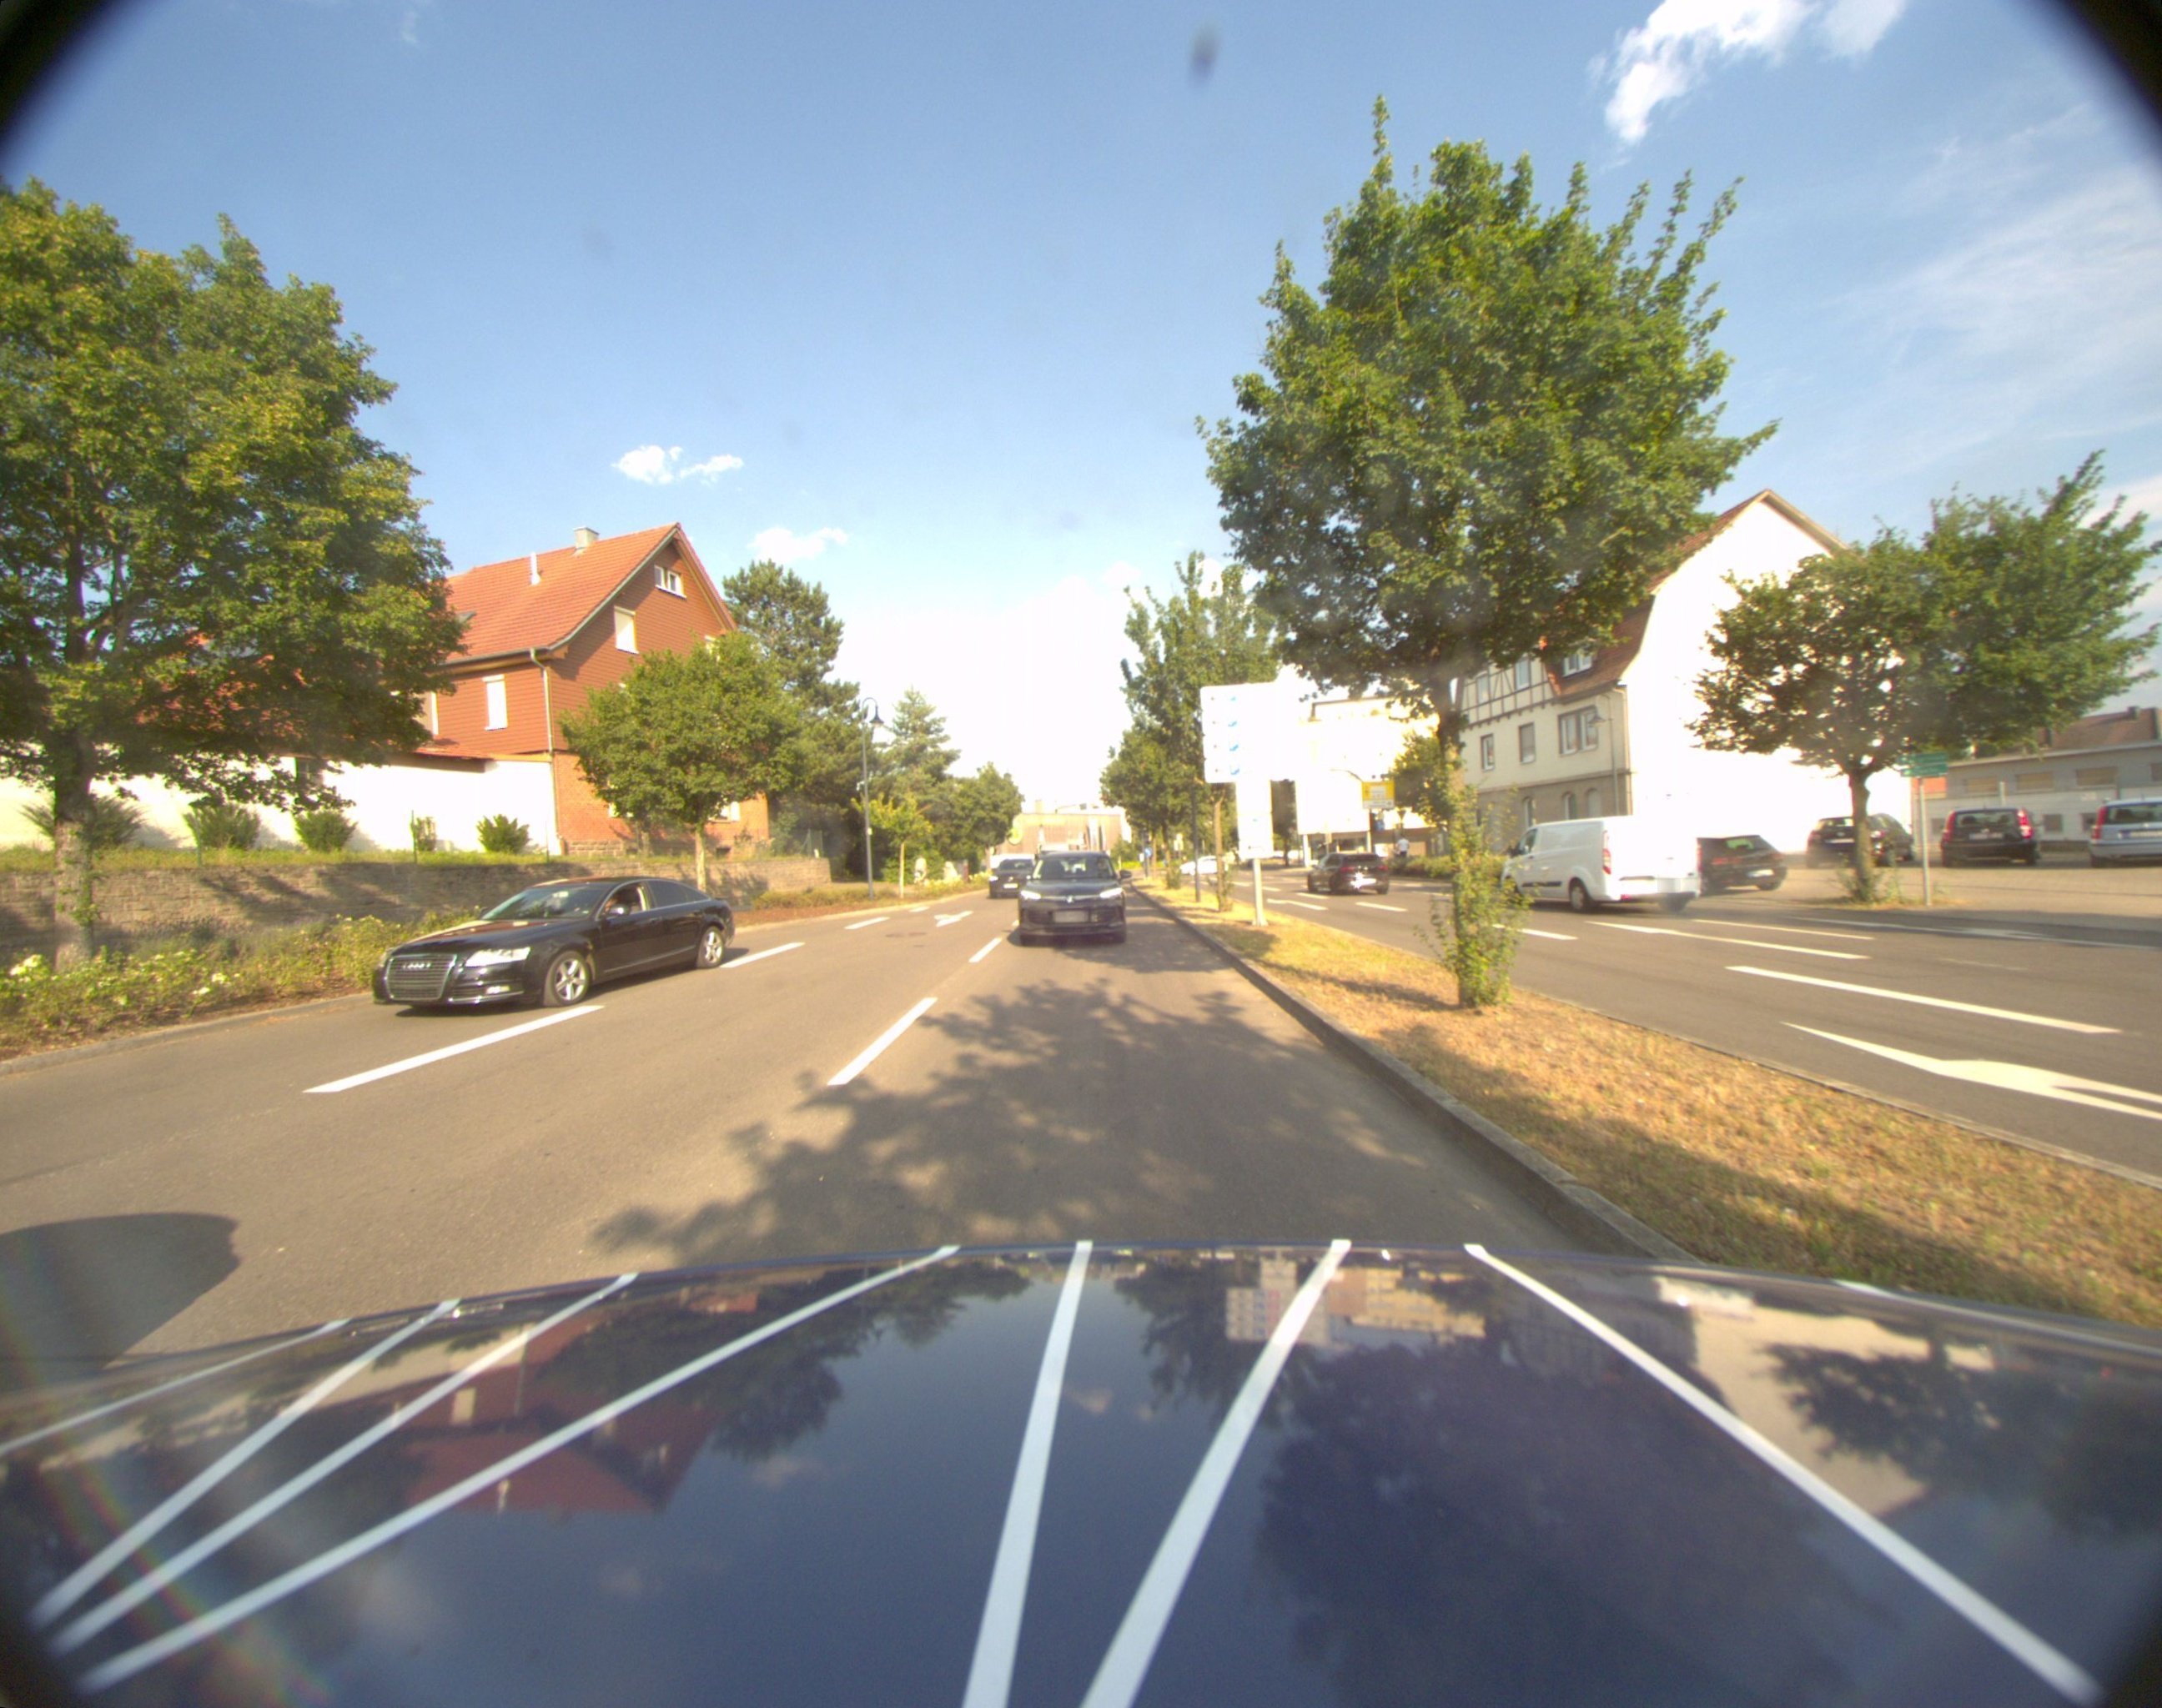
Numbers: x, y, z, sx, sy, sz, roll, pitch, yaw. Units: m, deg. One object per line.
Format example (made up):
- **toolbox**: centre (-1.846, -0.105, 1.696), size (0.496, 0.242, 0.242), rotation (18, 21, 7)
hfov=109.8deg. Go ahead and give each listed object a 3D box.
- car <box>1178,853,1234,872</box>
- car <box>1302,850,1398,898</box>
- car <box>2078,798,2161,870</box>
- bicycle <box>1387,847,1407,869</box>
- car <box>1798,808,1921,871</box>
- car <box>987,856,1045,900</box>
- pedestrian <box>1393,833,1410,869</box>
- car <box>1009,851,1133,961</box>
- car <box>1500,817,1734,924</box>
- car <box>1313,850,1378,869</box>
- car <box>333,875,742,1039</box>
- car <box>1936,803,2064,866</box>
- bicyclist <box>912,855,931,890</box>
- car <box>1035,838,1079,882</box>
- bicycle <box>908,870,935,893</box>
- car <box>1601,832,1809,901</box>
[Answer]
- **car**: centre (10.268, 0.703, 62.605), size (4.130, 1.346, 1.766), rotation (-2, 1, -6)
- **car**: centre (9.055, 0.606, 25.930), size (1.773, 1.442, 4.107), rotation (-2, 0, 0)
- **car**: centre (24.765, -0.493, 17.596), size (4.006, 1.543, 1.763), rotation (-3, 1, -34)
- **bicycle**: centre (18.122, 0.203, 43.615), size (0.680, 1.215, 1.515), rotation (-2, 1, 8)
- **car**: centre (22.970, -0.449, 22.394), size (4.006, 1.543, 1.764), rotation (-5, 1, -33)
- **car**: centre (-2.596, 0.924, 31.135), size (1.886, 1.599, 4.127), rotation (-2, 0, 1)
- **pedestrian**: centre (17.942, -0.154, 42.561), size (0.699, 1.971, 0.589), rotation (-2, 1, 8)
- **car**: centre (-0.118, 0.818, 14.352), size (1.894, 1.647, 4.729), rotation (-2, 0, 1)
- **car**: centre (11.188, 0.288, 16.417), size (1.827, 1.912, 4.946), rotation (-2, 0, 4)
- **car**: centre (21.451, 0.420, 61.789), size (4.660, 1.346, 1.768), rotation (-2, 1, 9)
- **car**: centre (-6.474, 1.108, 9.888), size (1.684, 1.427, 4.591), rotation (-2, 0, 5)
- **car**: centre (24.628, -0.538, 20.339), size (4.006, 1.543, 1.763), rotation (-3, 1, -34)
- **bicyclist**: centre (-7.800, 0.908, 37.241), size (0.603, 1.668, 0.735), rotation (-2, 1, 13)
- **car**: centre (-1.407, 0.344, 47.863), size (2.370, 2.532, 6.192), rotation (-2, 0, 1)
- **bicycle**: centre (-7.791, 1.353, 37.167), size (0.522, 1.012, 1.877), rotation (-2, 1, 13)
- **car**: centre (15.765, 0.274, 19.551), size (1.839, 1.436, 4.194), rotation (-5, 0, 0)
